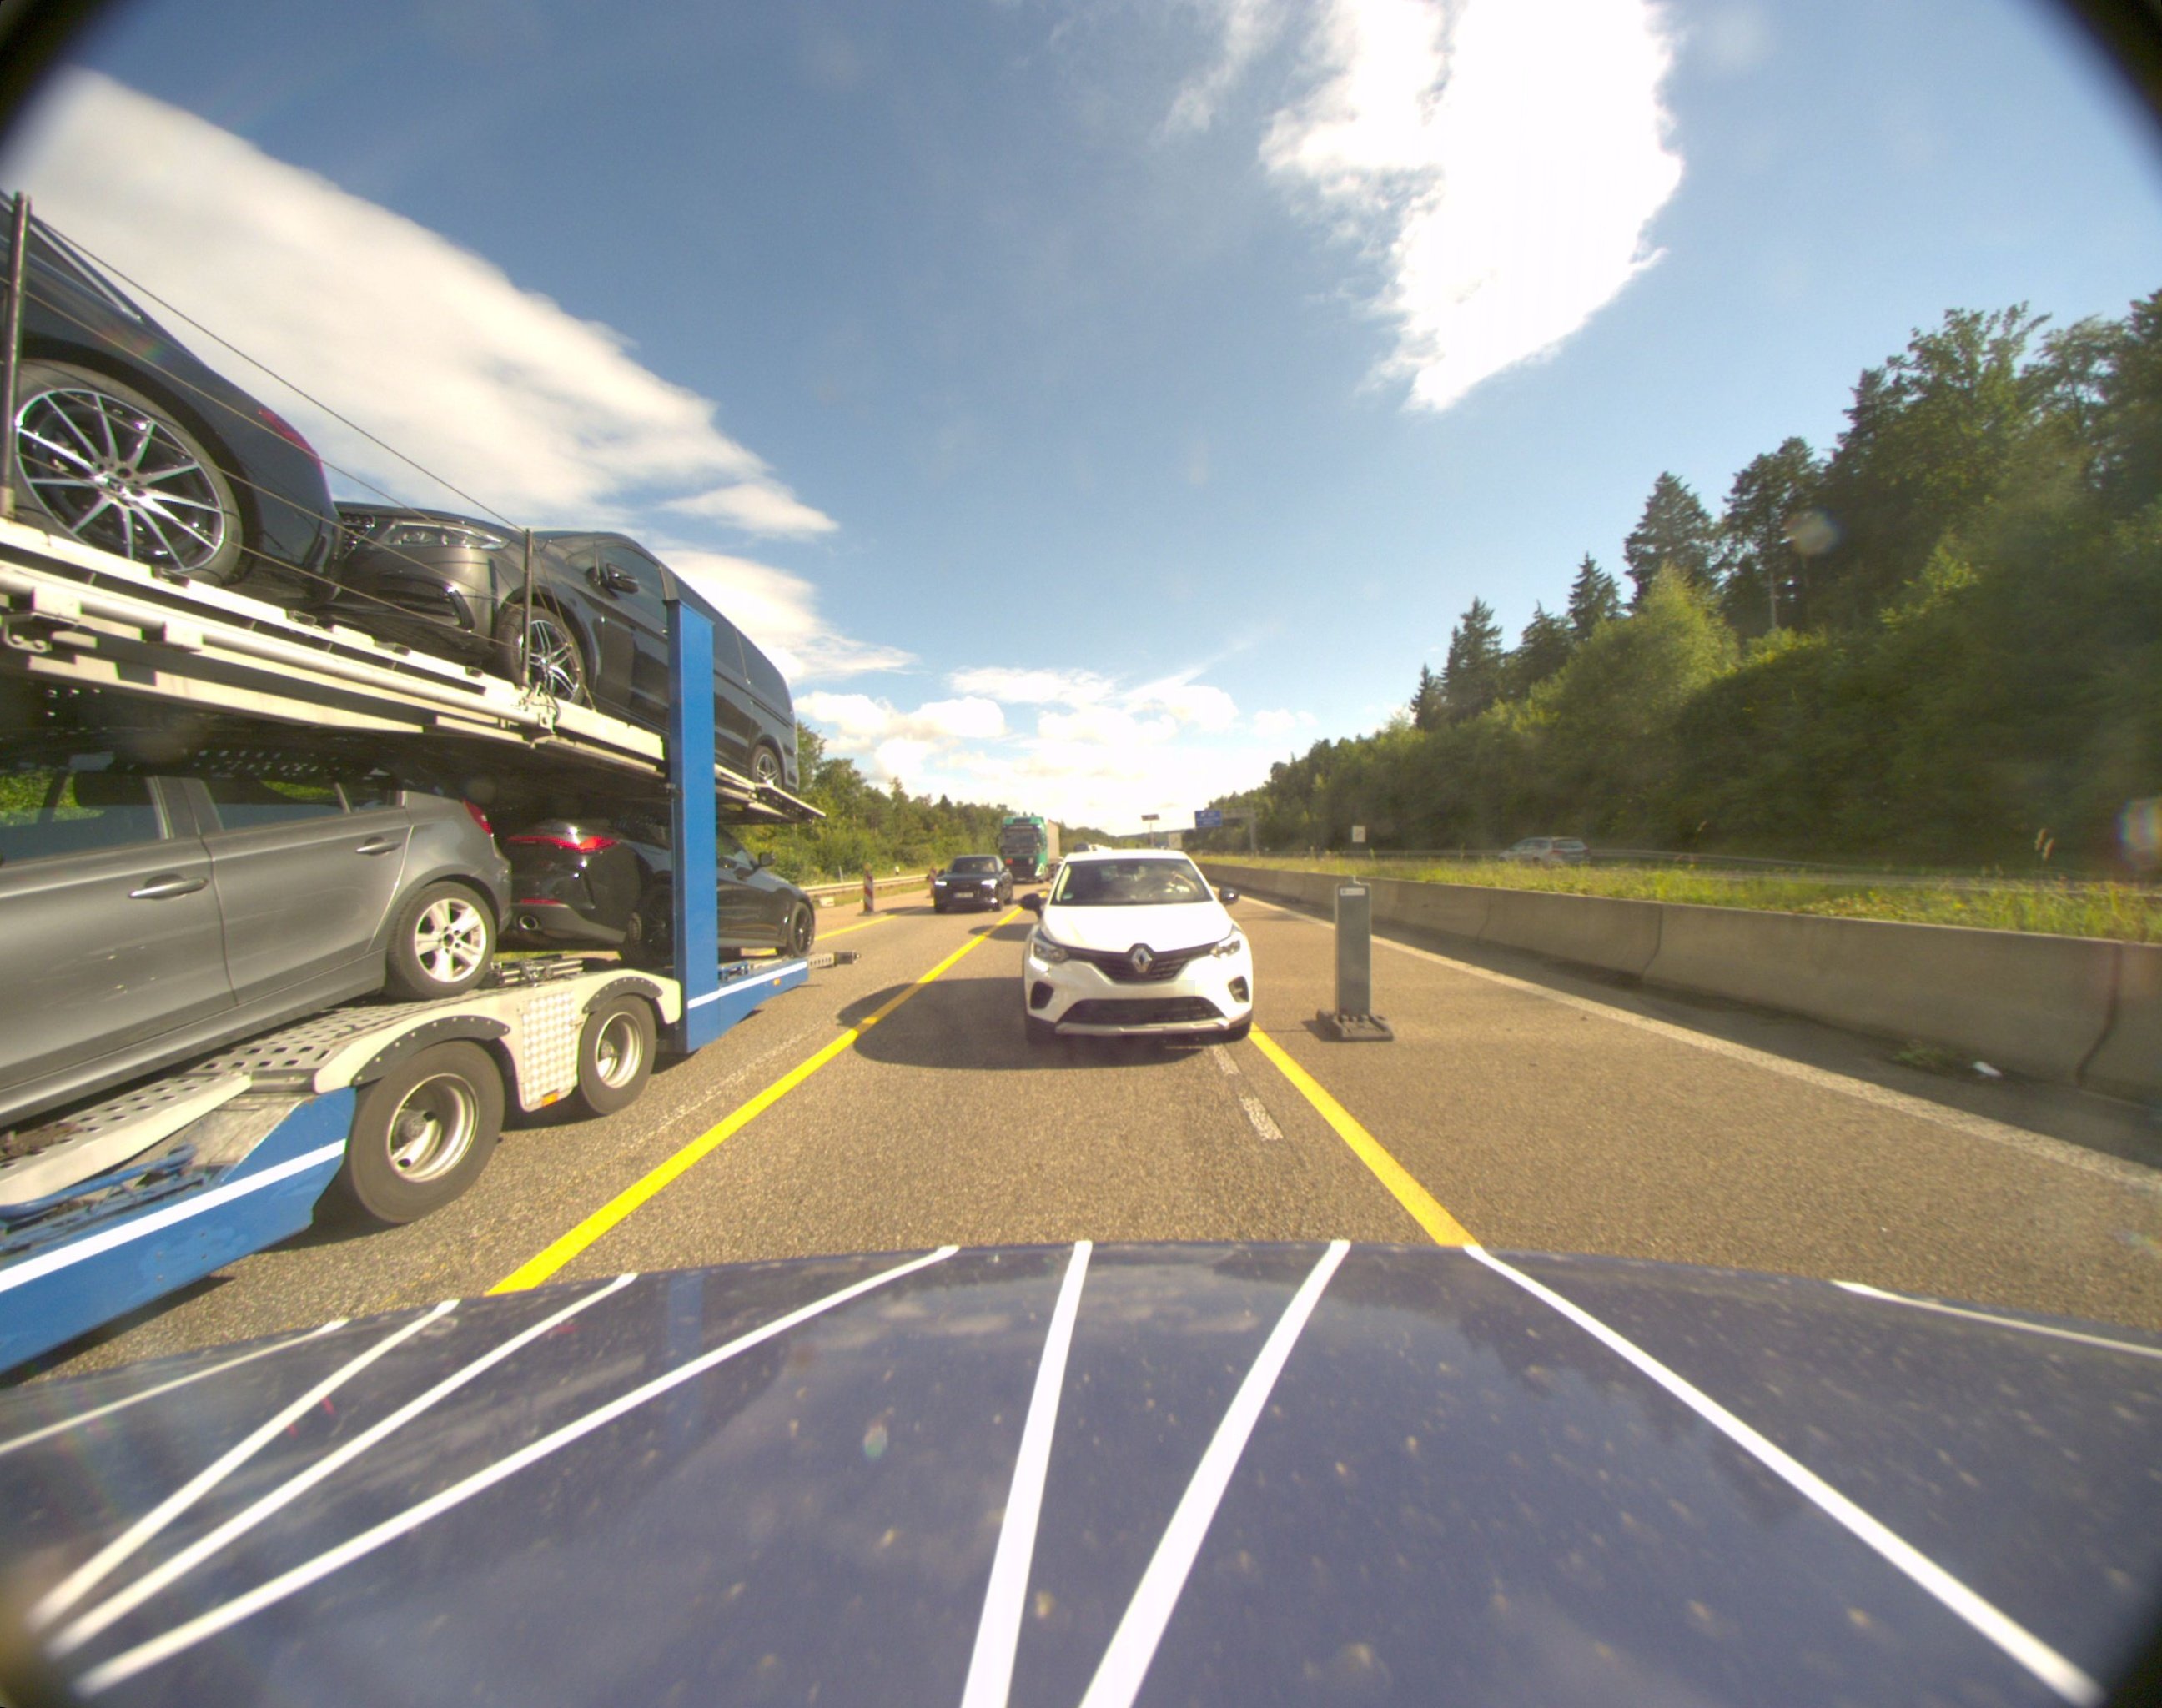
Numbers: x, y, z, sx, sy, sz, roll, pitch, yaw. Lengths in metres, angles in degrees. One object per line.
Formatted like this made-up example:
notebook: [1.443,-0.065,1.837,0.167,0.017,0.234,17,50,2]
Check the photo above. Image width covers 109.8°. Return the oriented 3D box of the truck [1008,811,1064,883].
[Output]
truck: [-2.798,-0.509,51.624,2.470,4.120,14.209,-2,1,1]

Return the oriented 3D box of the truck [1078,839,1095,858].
truck: [1.032,-1.008,136.802,2.576,3.168,6.802,-2,1,3]

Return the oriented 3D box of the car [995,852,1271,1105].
car: [0.370,0.832,7.078,1.782,1.593,4.017,-2,1,1]

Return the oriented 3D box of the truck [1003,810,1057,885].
truck: [-2.922,-0.406,45.394,2.528,4.076,6.855,-2,1,0]

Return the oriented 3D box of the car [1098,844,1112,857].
car: [3.844,-0.561,121.978,1.998,2.002,3.999,-2,1,1]

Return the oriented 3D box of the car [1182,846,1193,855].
car: [26.678,-0.849,190.275,1.998,2.002,3.999,-2,1,1]

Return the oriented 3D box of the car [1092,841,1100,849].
car: [3.517,-2.107,178.825,1.750,1.787,3.999,-2,1,0]

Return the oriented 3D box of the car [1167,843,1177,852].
car: [22.314,-1.554,186.488,1.998,2.002,3.999,-2,1,1]

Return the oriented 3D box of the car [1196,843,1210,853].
car: [24.414,-1.232,152.131,1.998,2.002,3.999,-2,1,1]

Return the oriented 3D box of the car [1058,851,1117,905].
car: [0.218,0.743,25.570,1.782,1.593,4.017,-2,1,1]

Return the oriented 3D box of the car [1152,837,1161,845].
car: [21.087,-3.594,213.010,1.998,2.002,3.999,-2,1,1]

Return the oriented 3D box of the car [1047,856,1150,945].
car: [0.333,0.837,15.548,1.782,1.468,4.017,-2,1,1]

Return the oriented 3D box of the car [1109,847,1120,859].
car: [6.067,-0.258,137.908,1.998,2.002,4.000,-2,1,3]

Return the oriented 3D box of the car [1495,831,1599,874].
car: [18.935,-0.083,31.073,1.782,1.593,4.017,-2,1,1]

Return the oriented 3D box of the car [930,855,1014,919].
car: [-3.165,0.906,22.862,1.782,1.593,4.293,-2,1,1]

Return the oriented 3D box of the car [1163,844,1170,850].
car: [26.992,-2.163,239.779,1.998,2.002,3.999,-2,1,1]

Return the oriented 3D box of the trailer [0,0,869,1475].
trailer: [-4.807,-0.368,1.881,3.735,4.172,16.225,-2,1,0]
